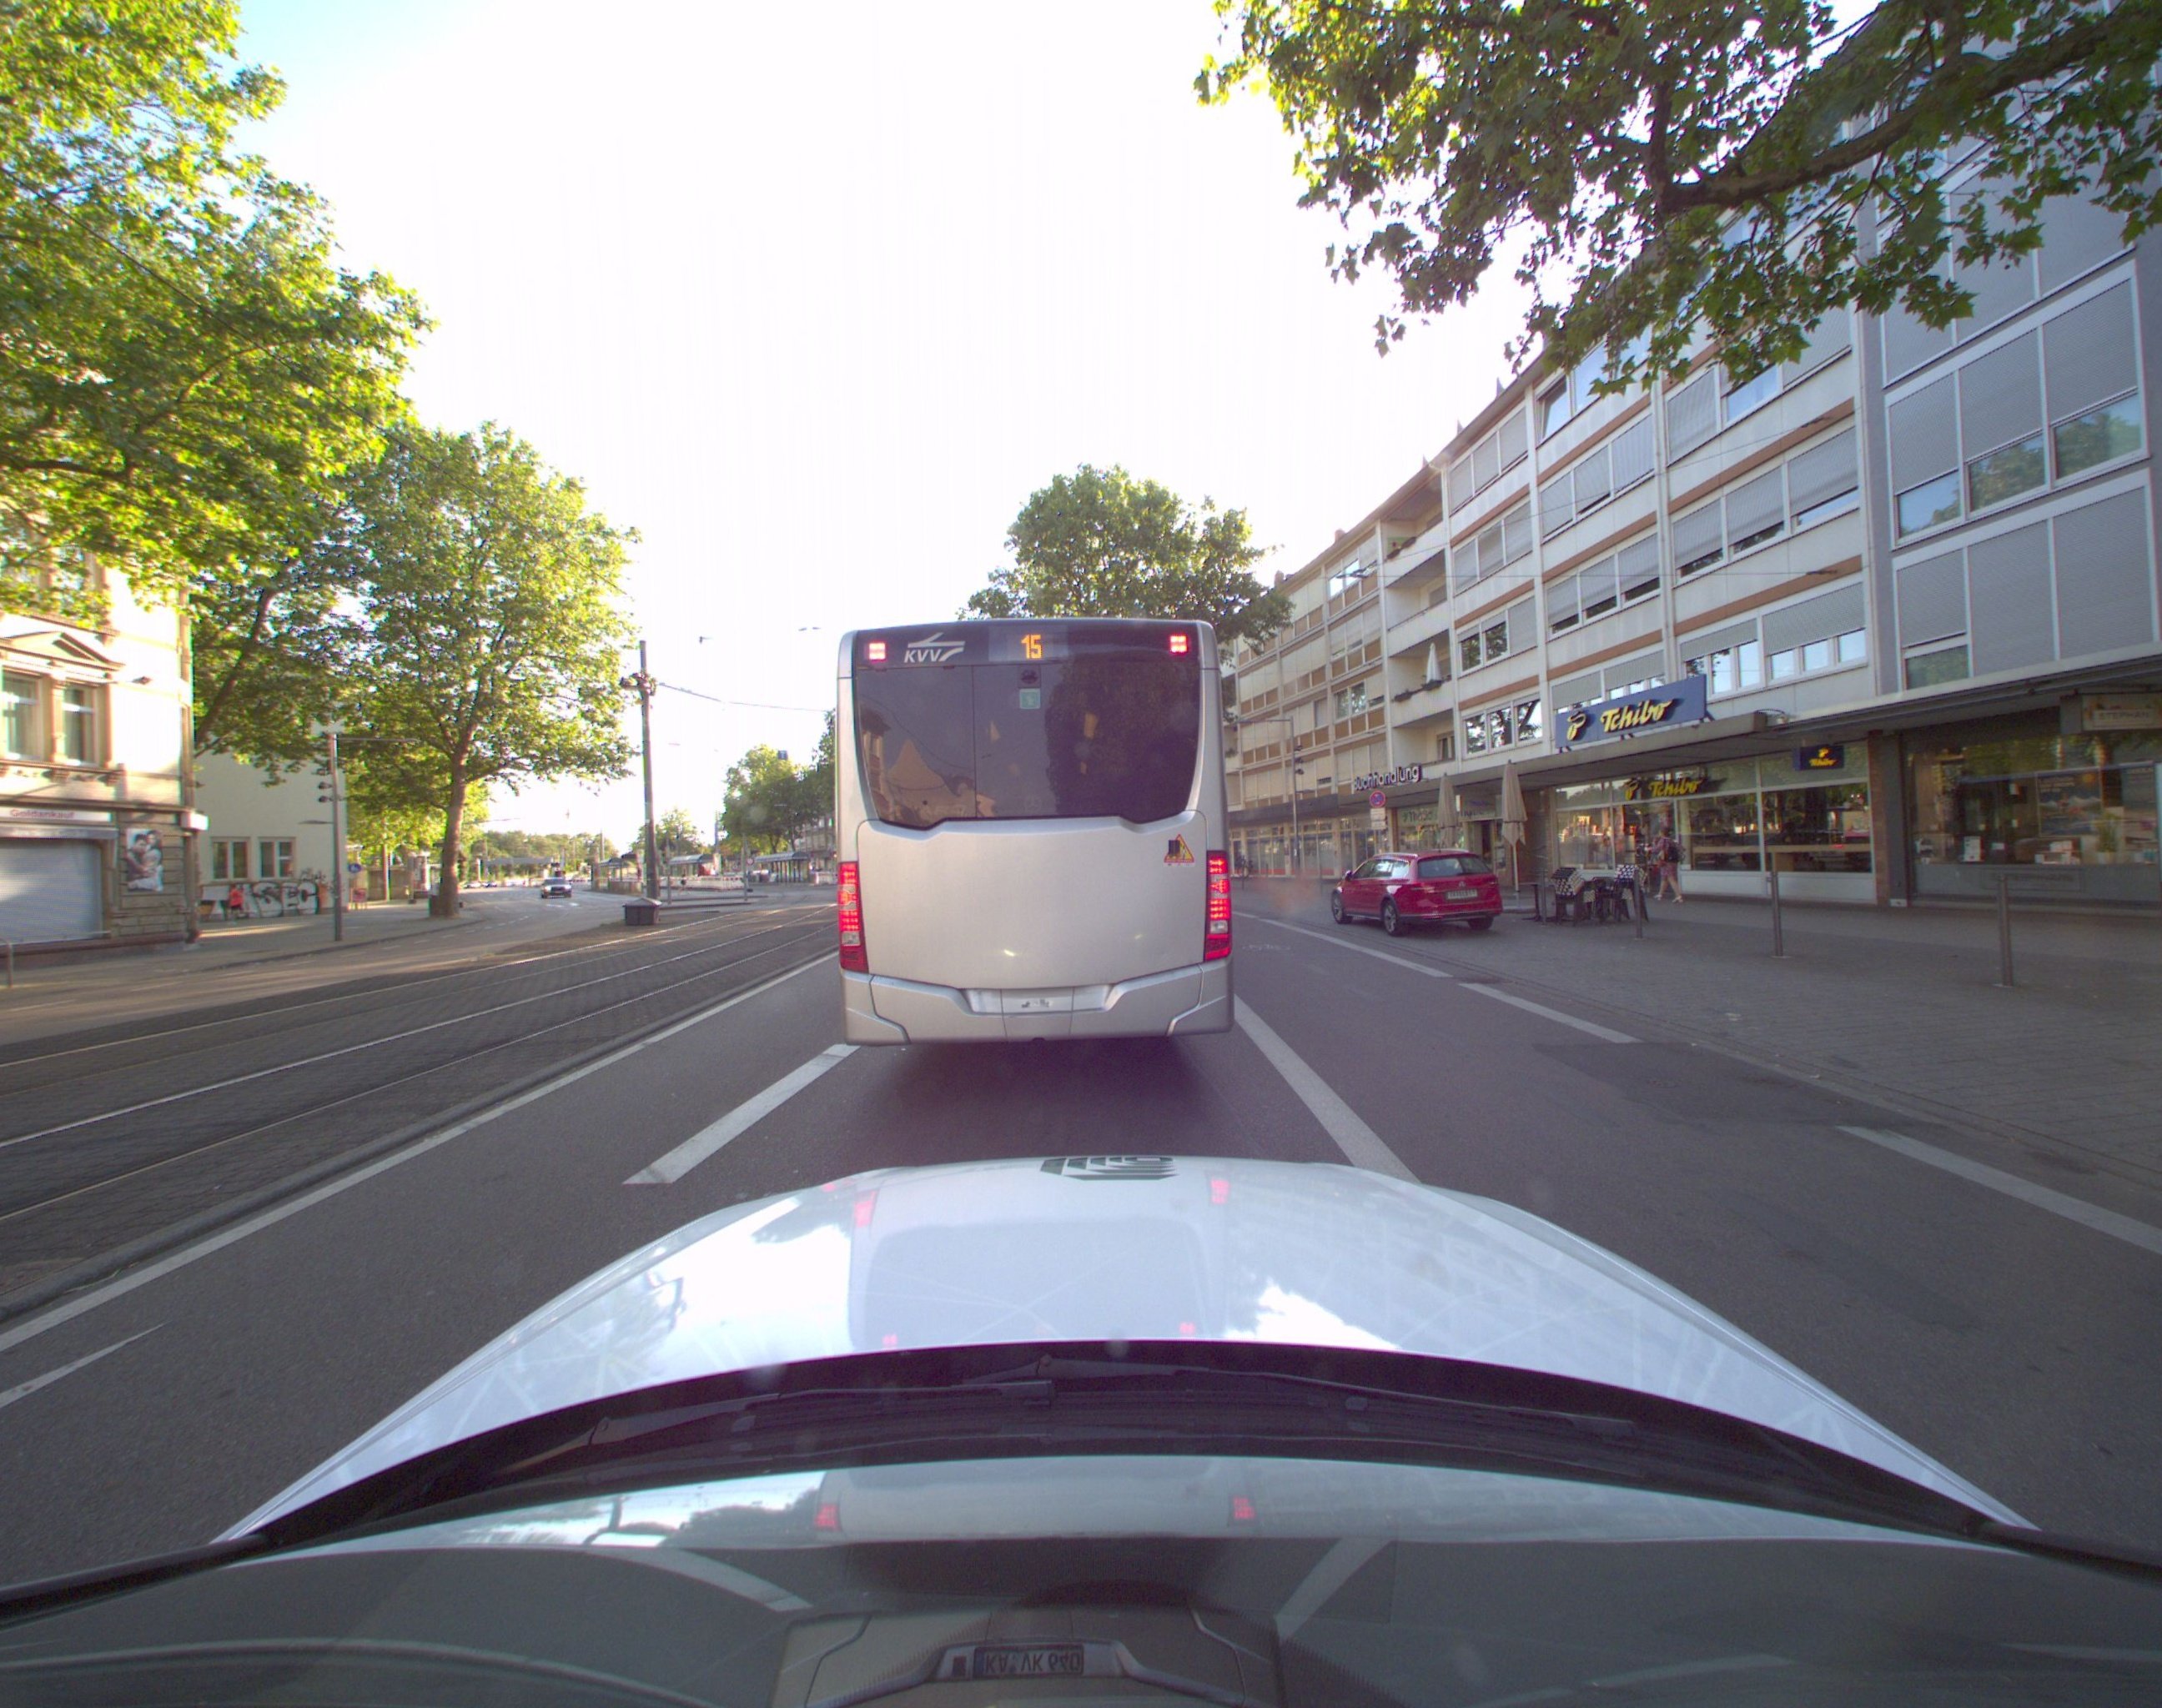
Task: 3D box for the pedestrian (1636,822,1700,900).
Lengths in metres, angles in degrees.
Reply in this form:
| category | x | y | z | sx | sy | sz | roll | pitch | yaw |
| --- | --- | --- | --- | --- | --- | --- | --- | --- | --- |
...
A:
| category | x | y | z | sx | sy | sz | roll | pitch | yaw |
| --- | --- | --- | --- | --- | --- | --- | --- | --- | --- |
| pedestrian | 12.518 | 0.145 | 17.387 | 0.649 | 1.592 | 0.788 | -4 | -1 | -4 |

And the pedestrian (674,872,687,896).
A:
| category | x | y | z | sx | sy | sz | roll | pitch | yaw |
| --- | --- | --- | --- | --- | --- | --- | --- | --- | --- |
| pedestrian | -29.021 | 2.168 | 59.026 | 0.661 | 1.656 | 0.438 | -2 | -1 | -41 |

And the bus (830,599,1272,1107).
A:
| category | x | y | z | sx | sy | sz | roll | pitch | yaw |
| --- | --- | --- | --- | --- | --- | --- | --- | --- | --- |
| bus | -0.166 | 0.016 | 9.925 | 2.622 | 3.028 | 9.995 | -1 | 0 | 0 |

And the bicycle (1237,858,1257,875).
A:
| category | x | y | z | sx | sy | sz | roll | pitch | yaw |
| --- | --- | --- | --- | --- | --- | --- | --- | --- | --- |
| bicycle | 9.284 | 0.714 | 45.619 | 0.413 | 0.945 | 1.431 | -2 | -1 | -18 |

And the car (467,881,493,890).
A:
| category | x | y | z | sx | sy | sz | roll | pitch | yaw |
| --- | --- | --- | --- | --- | --- | --- | --- | --- | --- |
| car | -122.653 | 6.357 | 166.138 | 1.768 | 1.640 | 4.024 | -3 | -1 | 44 |

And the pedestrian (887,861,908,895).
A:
| category | x | y | z | sx | sy | sz | roll | pitch | yaw |
| --- | --- | --- | --- | --- | --- | --- | --- | --- | --- |
| pedestrian | -9.432 | 1.234 | 41.910 | 0.893 | 1.728 | 0.518 | -2 | -1 | 3 |

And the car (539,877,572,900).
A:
| category | x | y | z | sx | sy | sz | roll | pitch | yaw |
| --- | --- | --- | --- | --- | --- | --- | --- | --- | --- |
| car | -40.048 | 2.621 | 62.067 | 2.008 | 1.640 | 3.958 | -2 | -1 | -33 |

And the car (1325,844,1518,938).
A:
| category | x | y | z | sx | sy | sz | roll | pitch | yaw |
| --- | --- | --- | --- | --- | --- | --- | --- | --- | --- |
| car | 6.374 | 0.636 | 15.837 | 1.765 | 1.482 | 4.300 | -3 | 0 | -2 |

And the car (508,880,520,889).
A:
| category | x | y | z | sx | sy | sz | roll | pitch | yaw |
| --- | --- | --- | --- | --- | --- | --- | --- | --- | --- |
| car | -111.433 | 5.929 | 160.014 | 1.858 | 1.684 | 3.677 | -4 | 1 | -35 |

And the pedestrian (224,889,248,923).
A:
| category | x | y | z | sx | sy | sz | roll | pitch | yaw |
| --- | --- | --- | --- | --- | --- | --- | --- | --- | --- |
| pedestrian | -38.386 | 2.354 | 36.996 | 0.487 | 1.513 | 0.614 | -3 | 0 | 25 |

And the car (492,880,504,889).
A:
| category | x | y | z | sx | sy | sz | roll | pitch | yaw |
| --- | --- | --- | --- | --- | --- | --- | --- | --- | --- |
| car | -117.815 | 6.119 | 164.675 | 1.858 | 1.684 | 3.676 | -2 | -1 | -35 |

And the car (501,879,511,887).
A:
| category | x | y | z | sx | sy | sz | roll | pitch | yaw |
| --- | --- | --- | --- | --- | --- | --- | --- | --- | --- |
| car | -130.077 | 6.508 | 184.194 | 1.858 | 1.684 | 3.676 | -2 | -1 | -35 |

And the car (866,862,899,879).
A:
| category | x | y | z | sx | sy | sz | roll | pitch | yaw |
| --- | --- | --- | --- | --- | --- | --- | --- | --- | --- |
| car | -21.636 | 1.771 | 88.808 | 2.010 | 1.792 | 3.954 | 0 | -1 | -39 |
